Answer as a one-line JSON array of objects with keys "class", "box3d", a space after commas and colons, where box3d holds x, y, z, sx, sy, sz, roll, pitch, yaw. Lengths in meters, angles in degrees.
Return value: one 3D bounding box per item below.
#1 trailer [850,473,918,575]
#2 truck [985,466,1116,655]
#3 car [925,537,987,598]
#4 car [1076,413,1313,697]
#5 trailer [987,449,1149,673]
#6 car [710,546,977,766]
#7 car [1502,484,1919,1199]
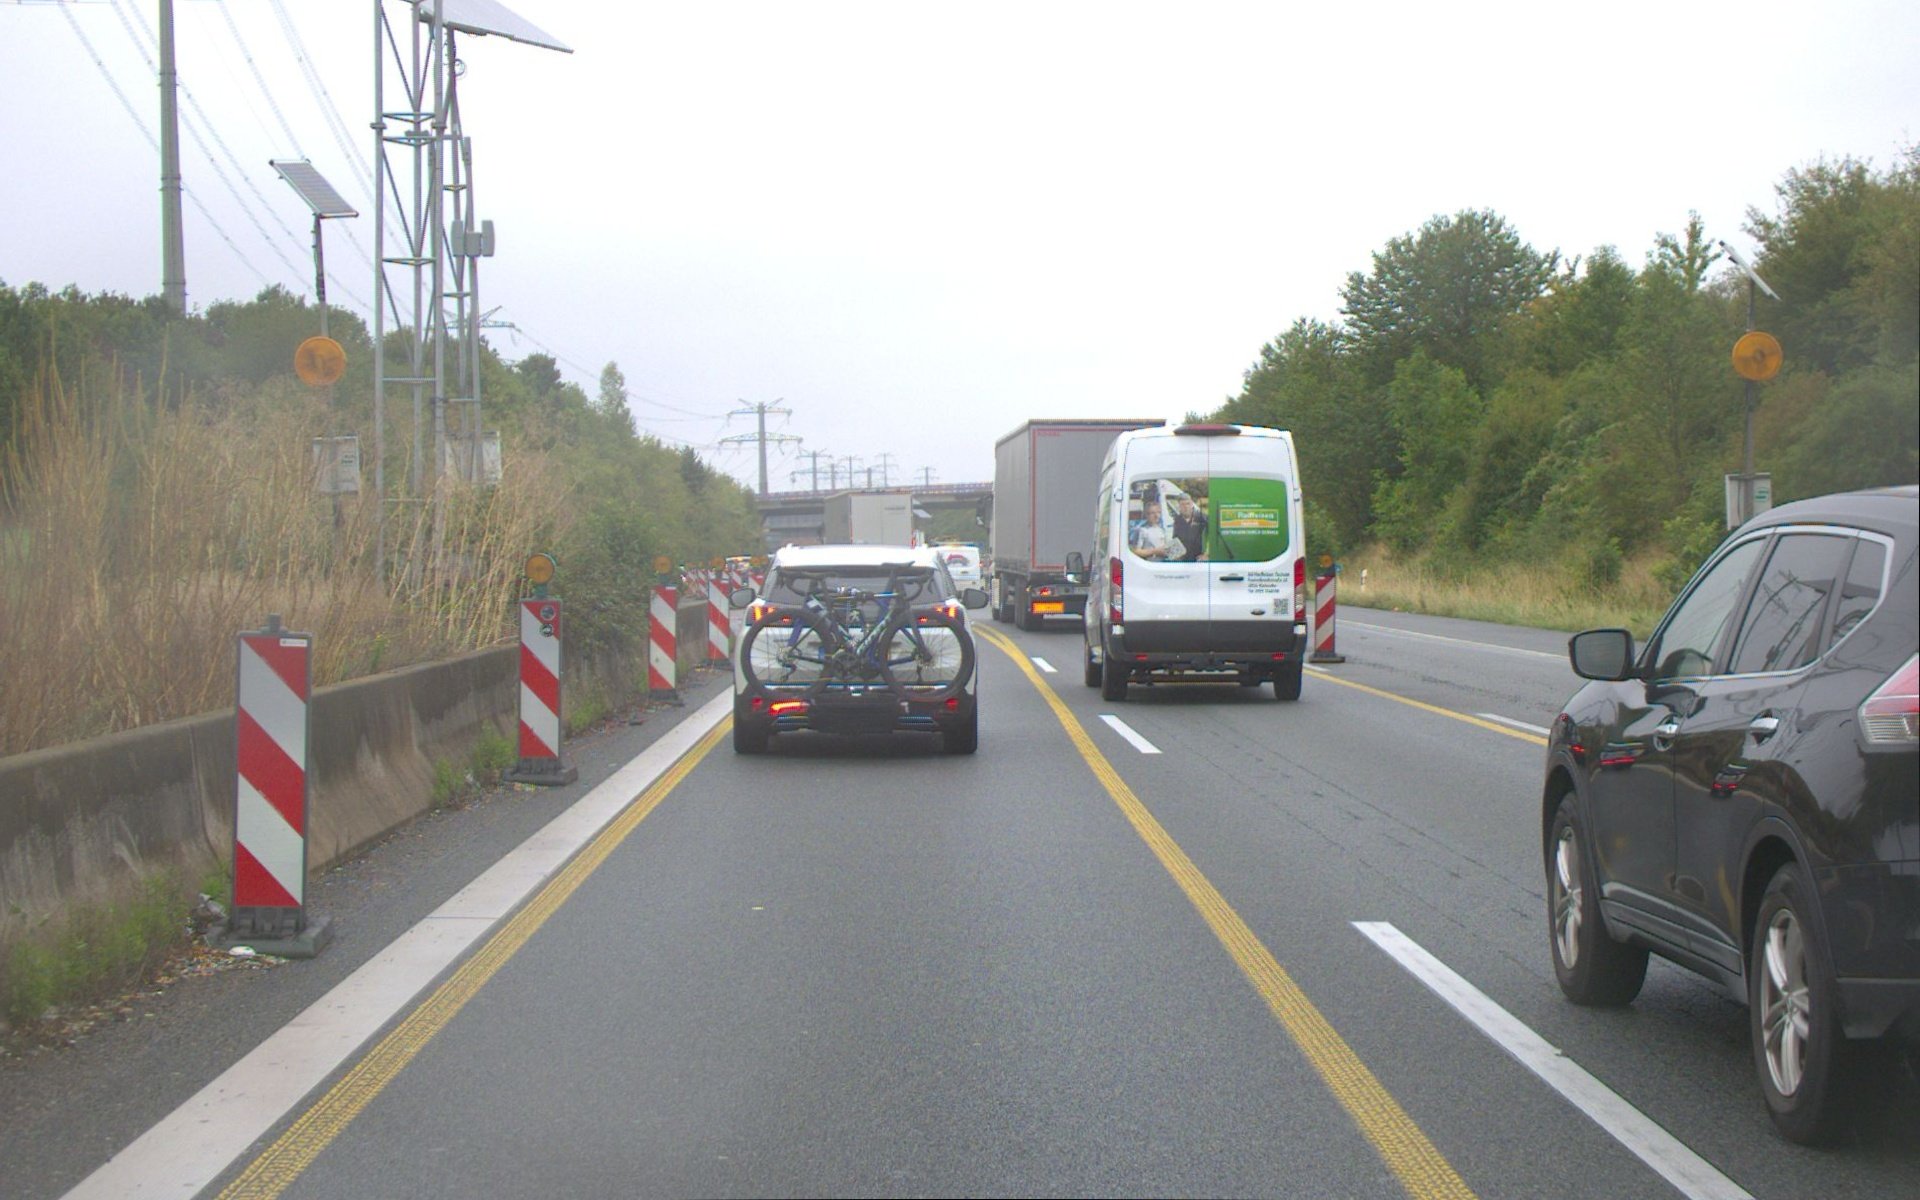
[{"class": "trailer", "box3d": [-3.157, -3.129, 143.393, 2.692, 4.062, 13.634, 0, 1, -1]}, {"class": "truck", "box3d": [1.995, -0.908, 78.003, 2.706, 4.124, 5.691, 0, 1, -1]}, {"class": "car", "box3d": [-0.152, -1.029, 106.216, 1.829, 1.833, 4.656, 0, 1, -1]}, {"class": "car", "box3d": [2.399, -0.490, 36.617, 1.993, 2.773, 5.757, 0, 1, -1]}, {"class": "trailer", "box3d": [2.059, -0.828, 70.586, 2.706, 4.132, 13.733, 0, 1, -1]}, {"class": "car", "box3d": [-0.857, 0.349, 26.250, 1.850, 1.525, 4.769, 0, 1, -1]}, {"class": "car", "box3d": [2.796, 0.535, 9.704, 1.684, 1.653, 4.281, 0, 1, -2]}]
